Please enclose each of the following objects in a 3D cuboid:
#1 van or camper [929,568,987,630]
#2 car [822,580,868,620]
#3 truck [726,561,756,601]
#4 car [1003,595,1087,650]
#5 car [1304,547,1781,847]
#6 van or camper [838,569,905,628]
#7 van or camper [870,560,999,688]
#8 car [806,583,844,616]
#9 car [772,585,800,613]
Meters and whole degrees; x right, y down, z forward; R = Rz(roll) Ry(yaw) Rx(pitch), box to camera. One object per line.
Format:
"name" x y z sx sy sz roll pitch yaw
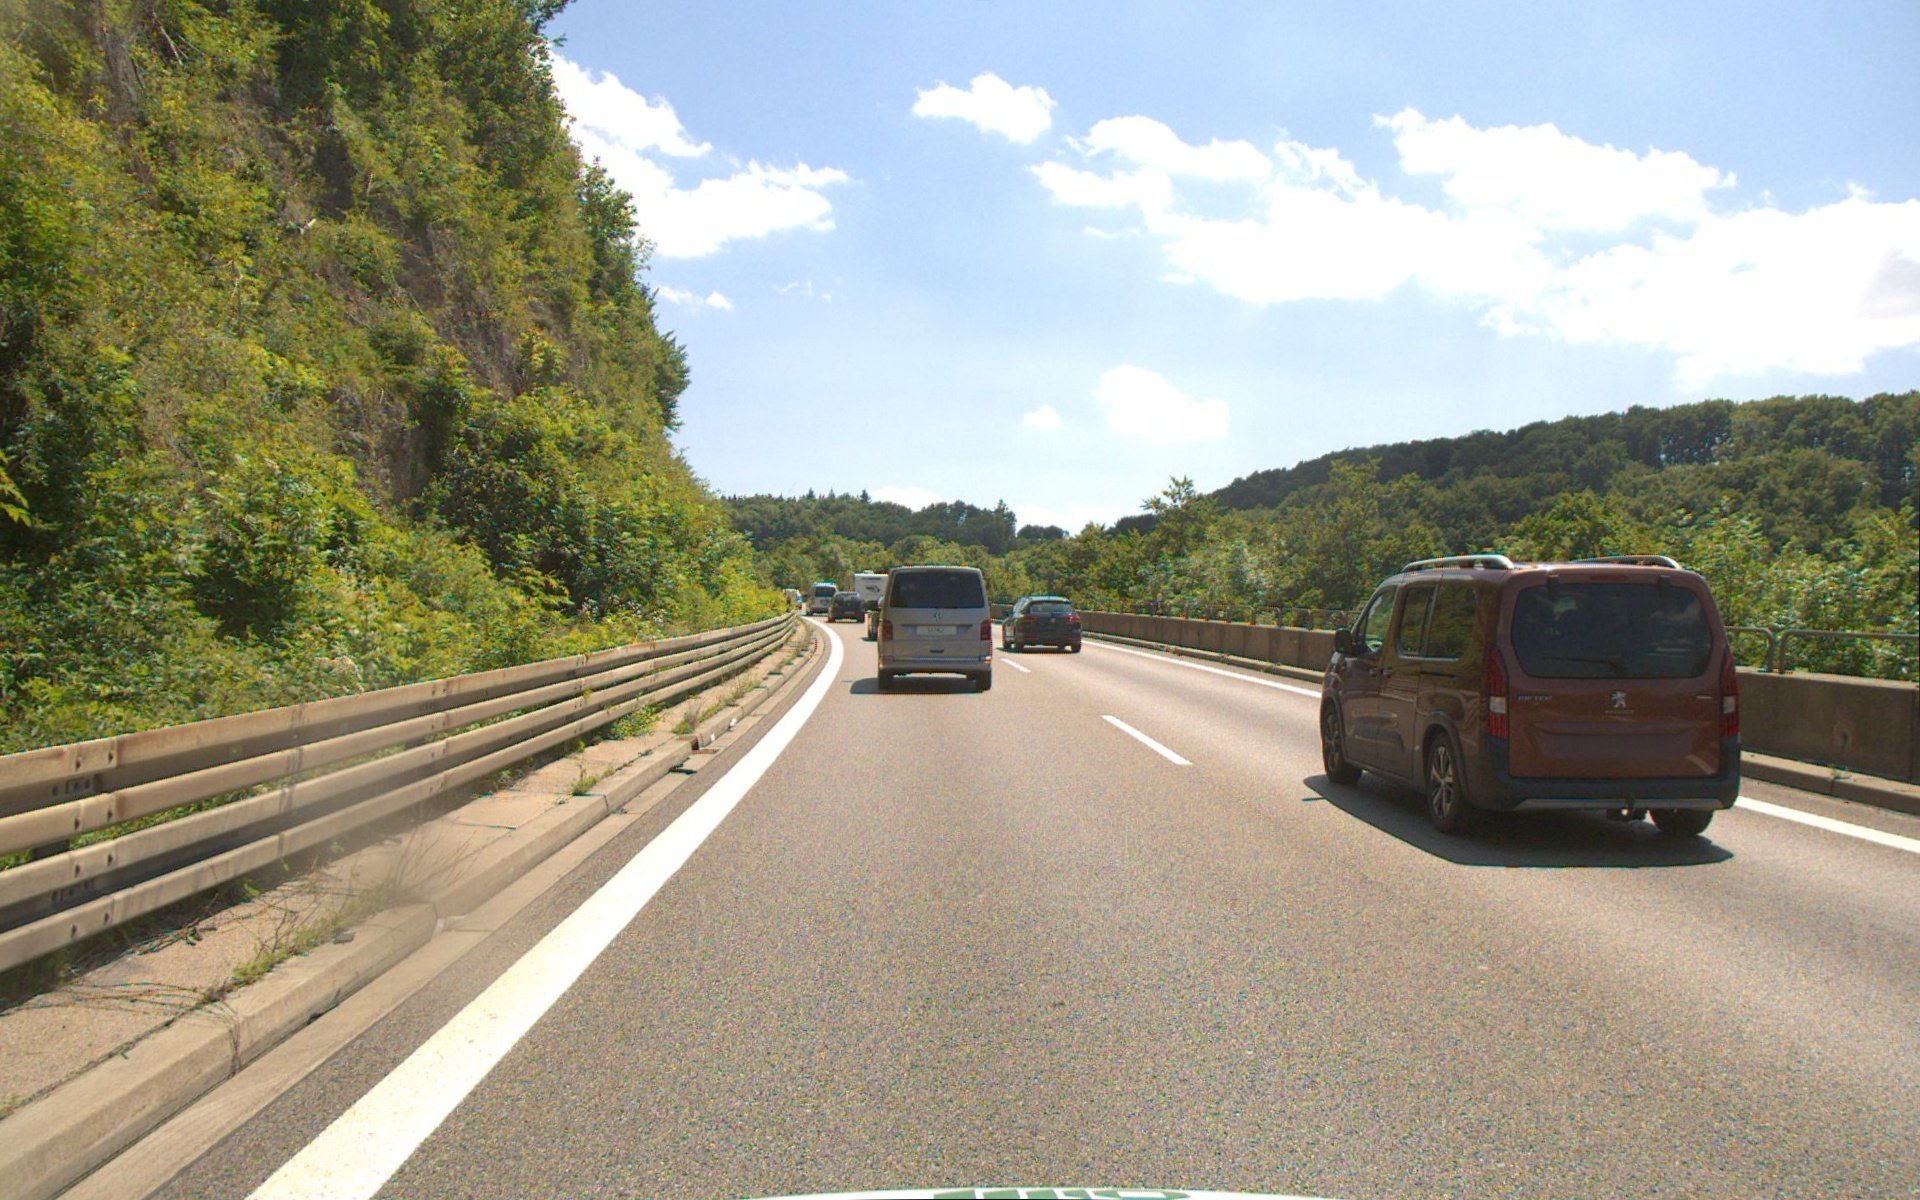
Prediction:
"van or camper" -0.117 -0.048 72.341 2.219 2.596 4.733 -1 0 -4
"car" -5.591 -0.005 79.944 1.956 1.849 3.993 1 0 -8
"truck" -26.363 -2.254 199.115 3.232 4.599 7.710 0 0 -10
"car" 2.253 0.582 44.783 1.734 1.400 3.588 0 1 -6
"car" 4.033 0.601 12.391 1.796 1.815 4.674 0 0 -2
"van or camper" -6.090 -0.121 112.736 3.220 3.855 8.084 0 0 -13
"van or camper" -0.506 0.375 27.883 1.839 1.983 4.289 0 0 -5
"car" -7.871 -0.025 96.300 1.956 1.849 3.993 1 0 -8
"car" -12.681 -0.087 120.209 1.956 1.948 3.994 1 0 -7
